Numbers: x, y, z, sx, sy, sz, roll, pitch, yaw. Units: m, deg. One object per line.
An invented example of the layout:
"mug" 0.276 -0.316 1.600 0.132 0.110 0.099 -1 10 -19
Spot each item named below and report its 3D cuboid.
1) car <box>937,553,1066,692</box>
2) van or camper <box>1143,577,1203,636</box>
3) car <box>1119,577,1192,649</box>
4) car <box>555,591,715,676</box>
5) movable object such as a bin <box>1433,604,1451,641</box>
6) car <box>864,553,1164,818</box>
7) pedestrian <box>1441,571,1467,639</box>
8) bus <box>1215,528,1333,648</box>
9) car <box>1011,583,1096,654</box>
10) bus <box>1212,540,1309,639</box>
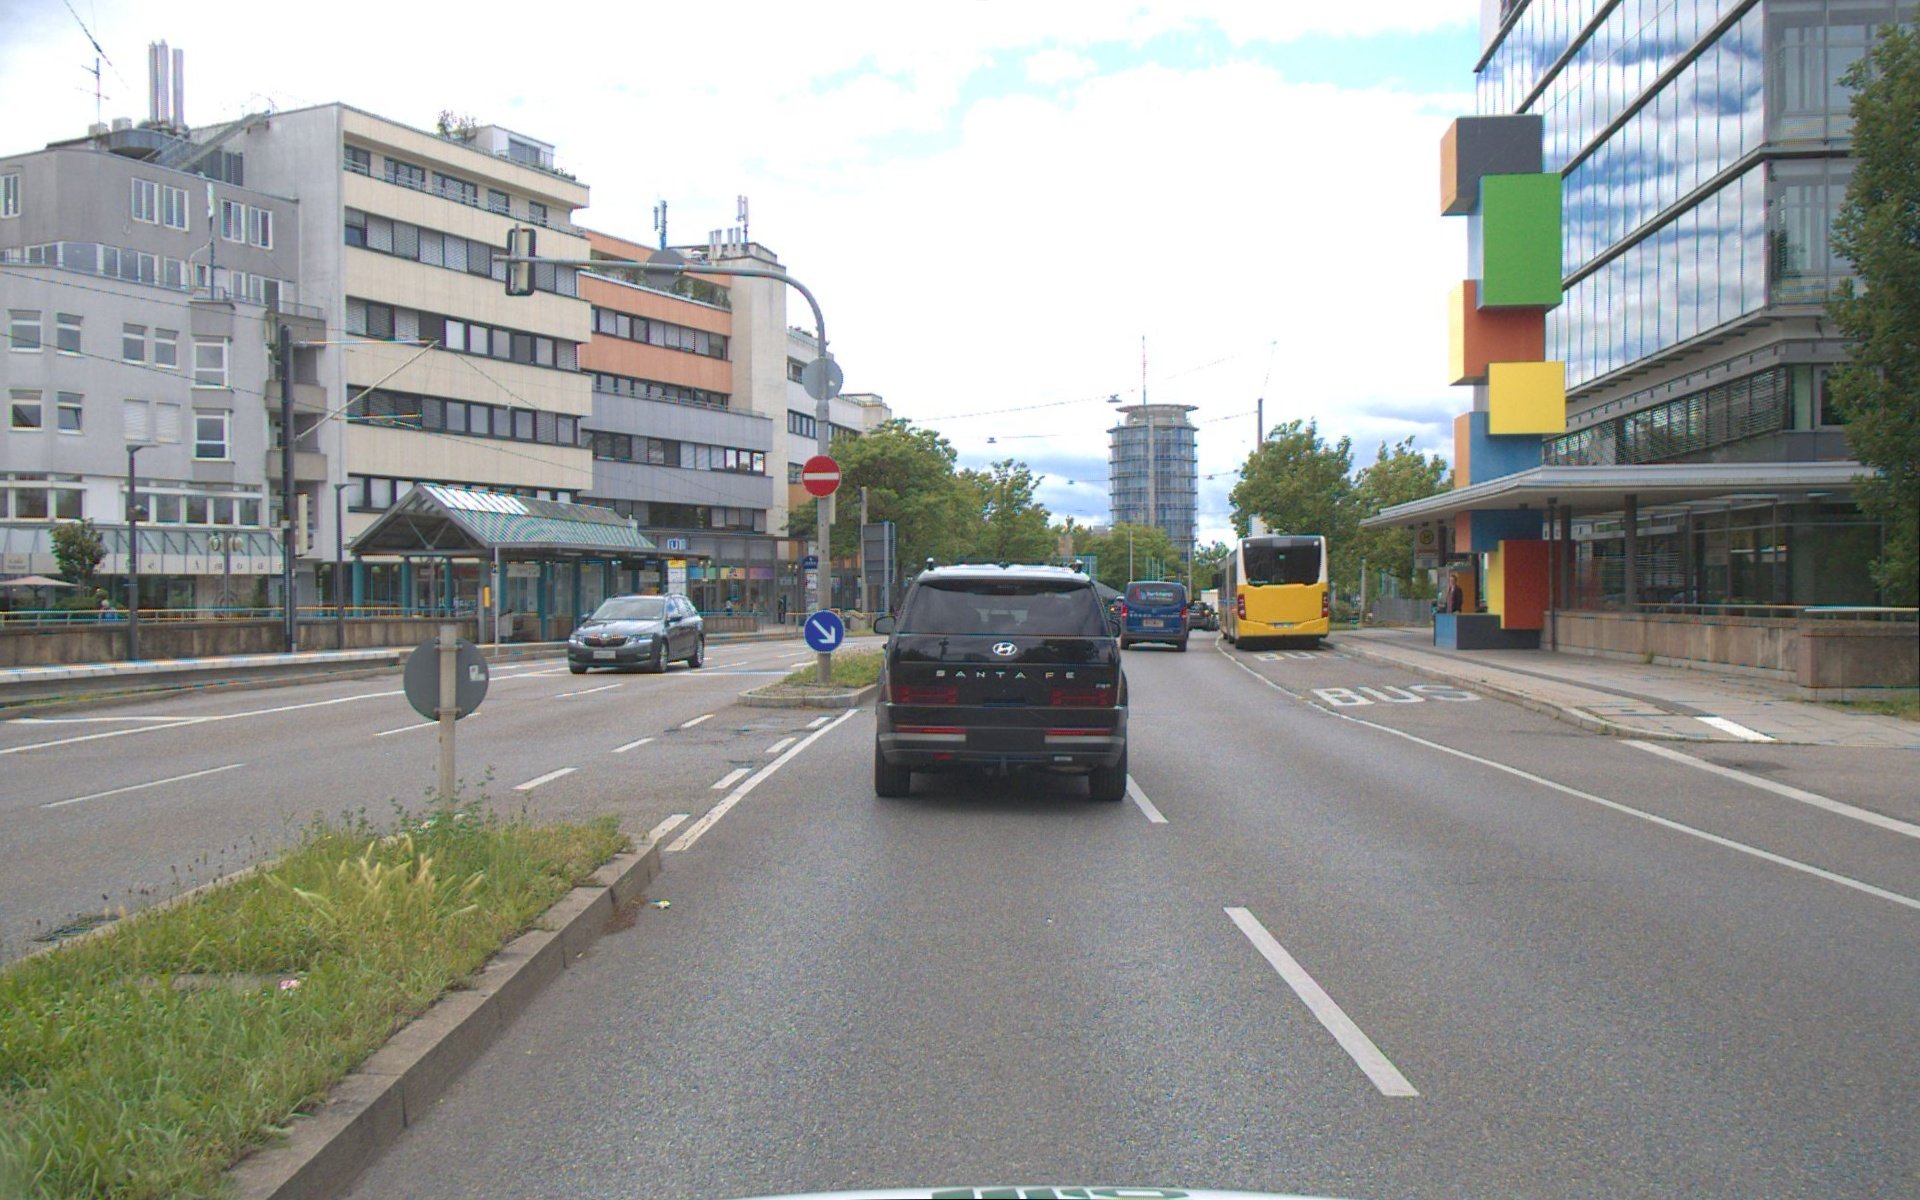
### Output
"car" 0.670 0.293 26.584 1.862 2.003 4.637 1 1 2
"van or camper" 7.622 0.190 59.571 1.951 1.951 4.412 0 2 5
"car" 5.513 0.322 47.157 1.862 1.891 4.712 1 1 5
"car" -6.102 0.589 31.595 1.760 1.480 4.615 0 0 5
"movable object such as a bin" 12.078 0.556 41.439 0.348 0.913 0.462 0 0 7
"car" 0.242 0.536 13.319 1.865 1.761 4.442 1 1 -5
"pedestrian" 12.552 0.133 42.013 0.513 1.702 0.733 0 0 7
"bus" 9.220 -0.330 49.468 2.903 3.171 9.251 -2 0 8
"car" 2.230 0.411 40.495 1.863 1.569 4.710 1 1 1
"bus" 10.548 -0.344 58.896 2.889 3.166 9.984 -2 0 8
